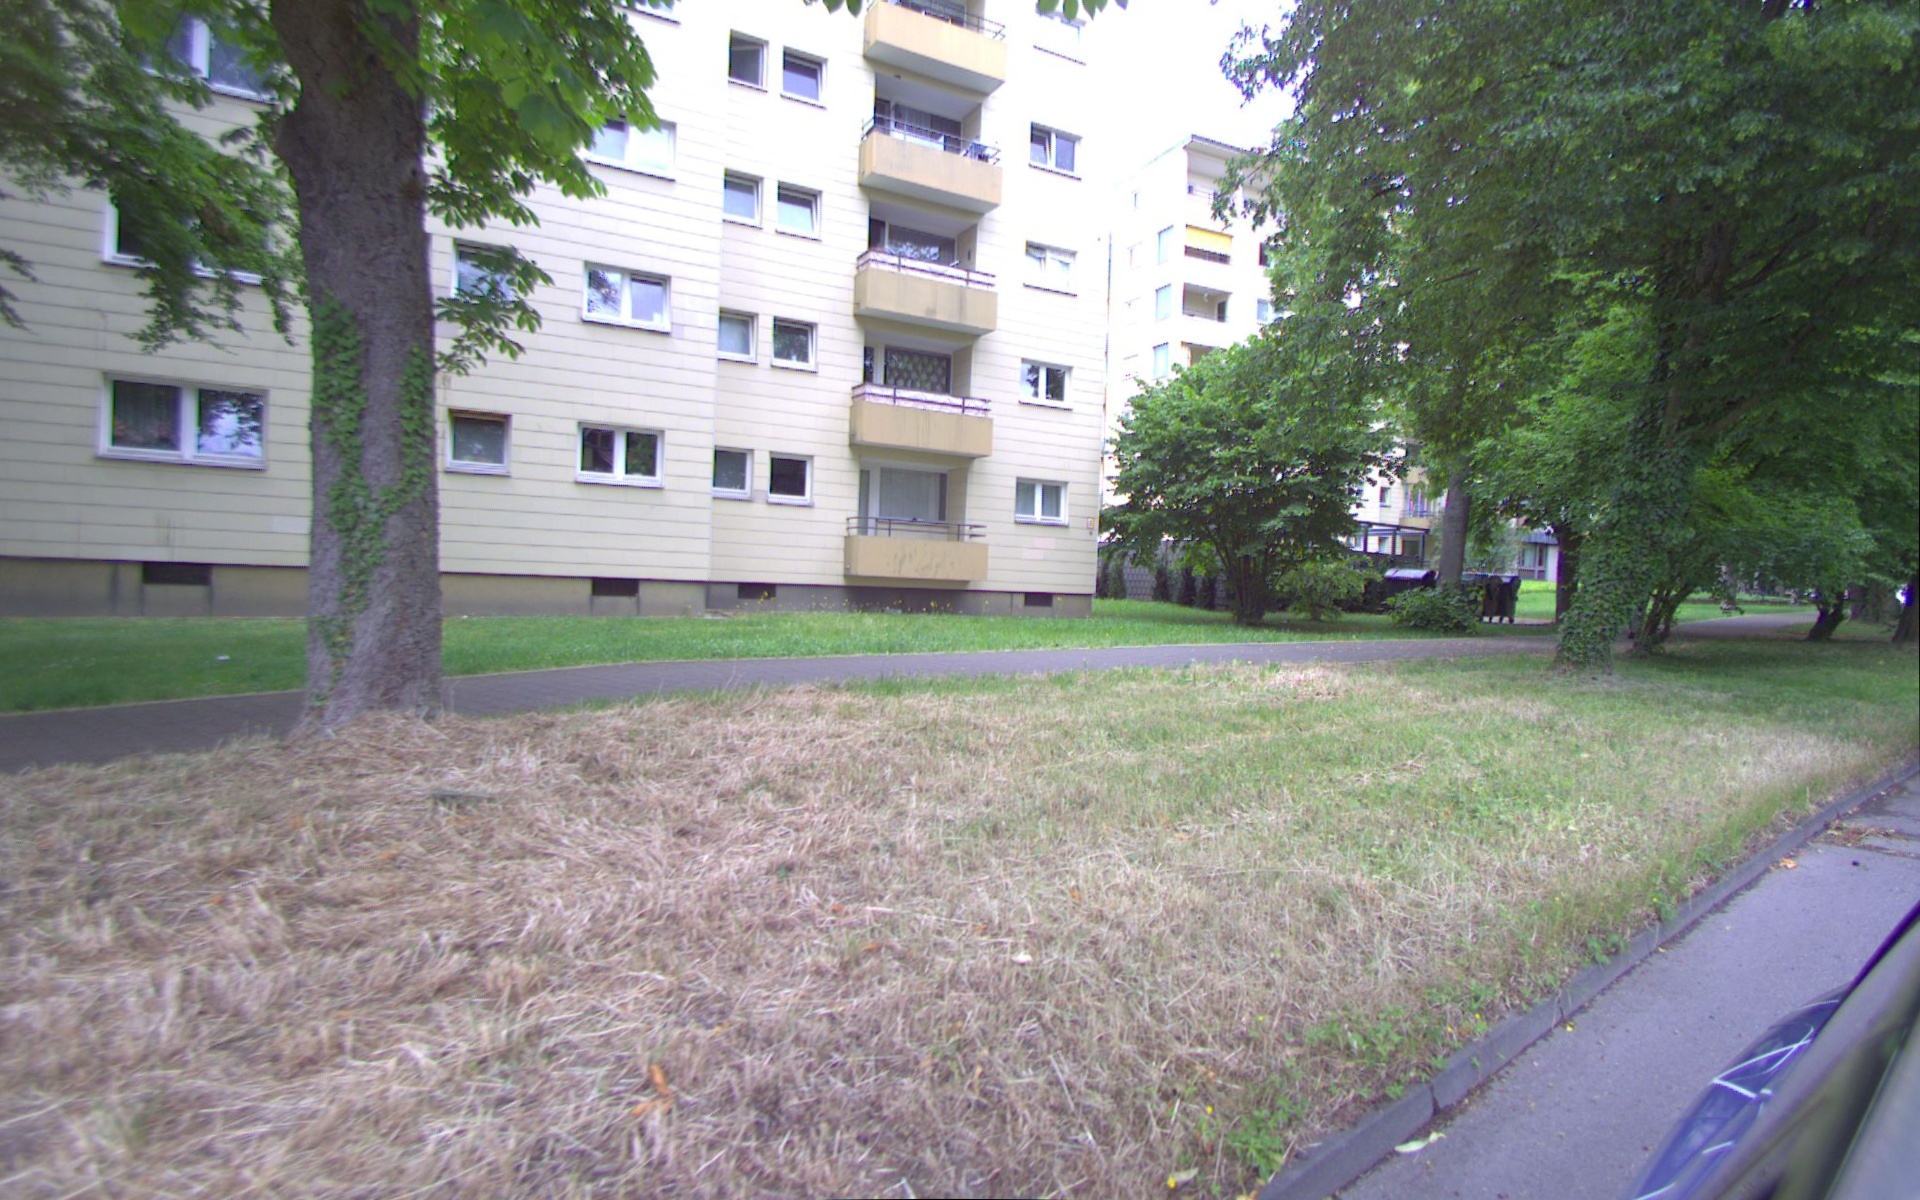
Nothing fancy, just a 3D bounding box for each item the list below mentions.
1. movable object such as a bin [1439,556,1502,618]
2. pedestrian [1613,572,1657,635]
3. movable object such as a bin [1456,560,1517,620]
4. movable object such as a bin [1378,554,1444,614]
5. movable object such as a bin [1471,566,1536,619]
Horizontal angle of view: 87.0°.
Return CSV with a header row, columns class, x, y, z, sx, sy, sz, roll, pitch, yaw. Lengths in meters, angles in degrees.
class,x,y,z,sx,sy,sz,roll,pitch,yaw
movable object such as a bin,14.452,-0.388,28.663,1.003,1.662,1.276,-1,4,-43
pedestrian,15.448,0.076,23.154,0.596,1.398,0.688,-1,2,-43
movable object such as a bin,15.334,-0.320,29.500,1.058,1.662,1.238,-1,4,-43
movable object such as a bin,13.304,-0.493,29.870,1.003,1.662,1.433,-1,4,-43
movable object such as a bin,16.252,-0.251,30.266,1.182,1.492,1.327,-1,5,-43
